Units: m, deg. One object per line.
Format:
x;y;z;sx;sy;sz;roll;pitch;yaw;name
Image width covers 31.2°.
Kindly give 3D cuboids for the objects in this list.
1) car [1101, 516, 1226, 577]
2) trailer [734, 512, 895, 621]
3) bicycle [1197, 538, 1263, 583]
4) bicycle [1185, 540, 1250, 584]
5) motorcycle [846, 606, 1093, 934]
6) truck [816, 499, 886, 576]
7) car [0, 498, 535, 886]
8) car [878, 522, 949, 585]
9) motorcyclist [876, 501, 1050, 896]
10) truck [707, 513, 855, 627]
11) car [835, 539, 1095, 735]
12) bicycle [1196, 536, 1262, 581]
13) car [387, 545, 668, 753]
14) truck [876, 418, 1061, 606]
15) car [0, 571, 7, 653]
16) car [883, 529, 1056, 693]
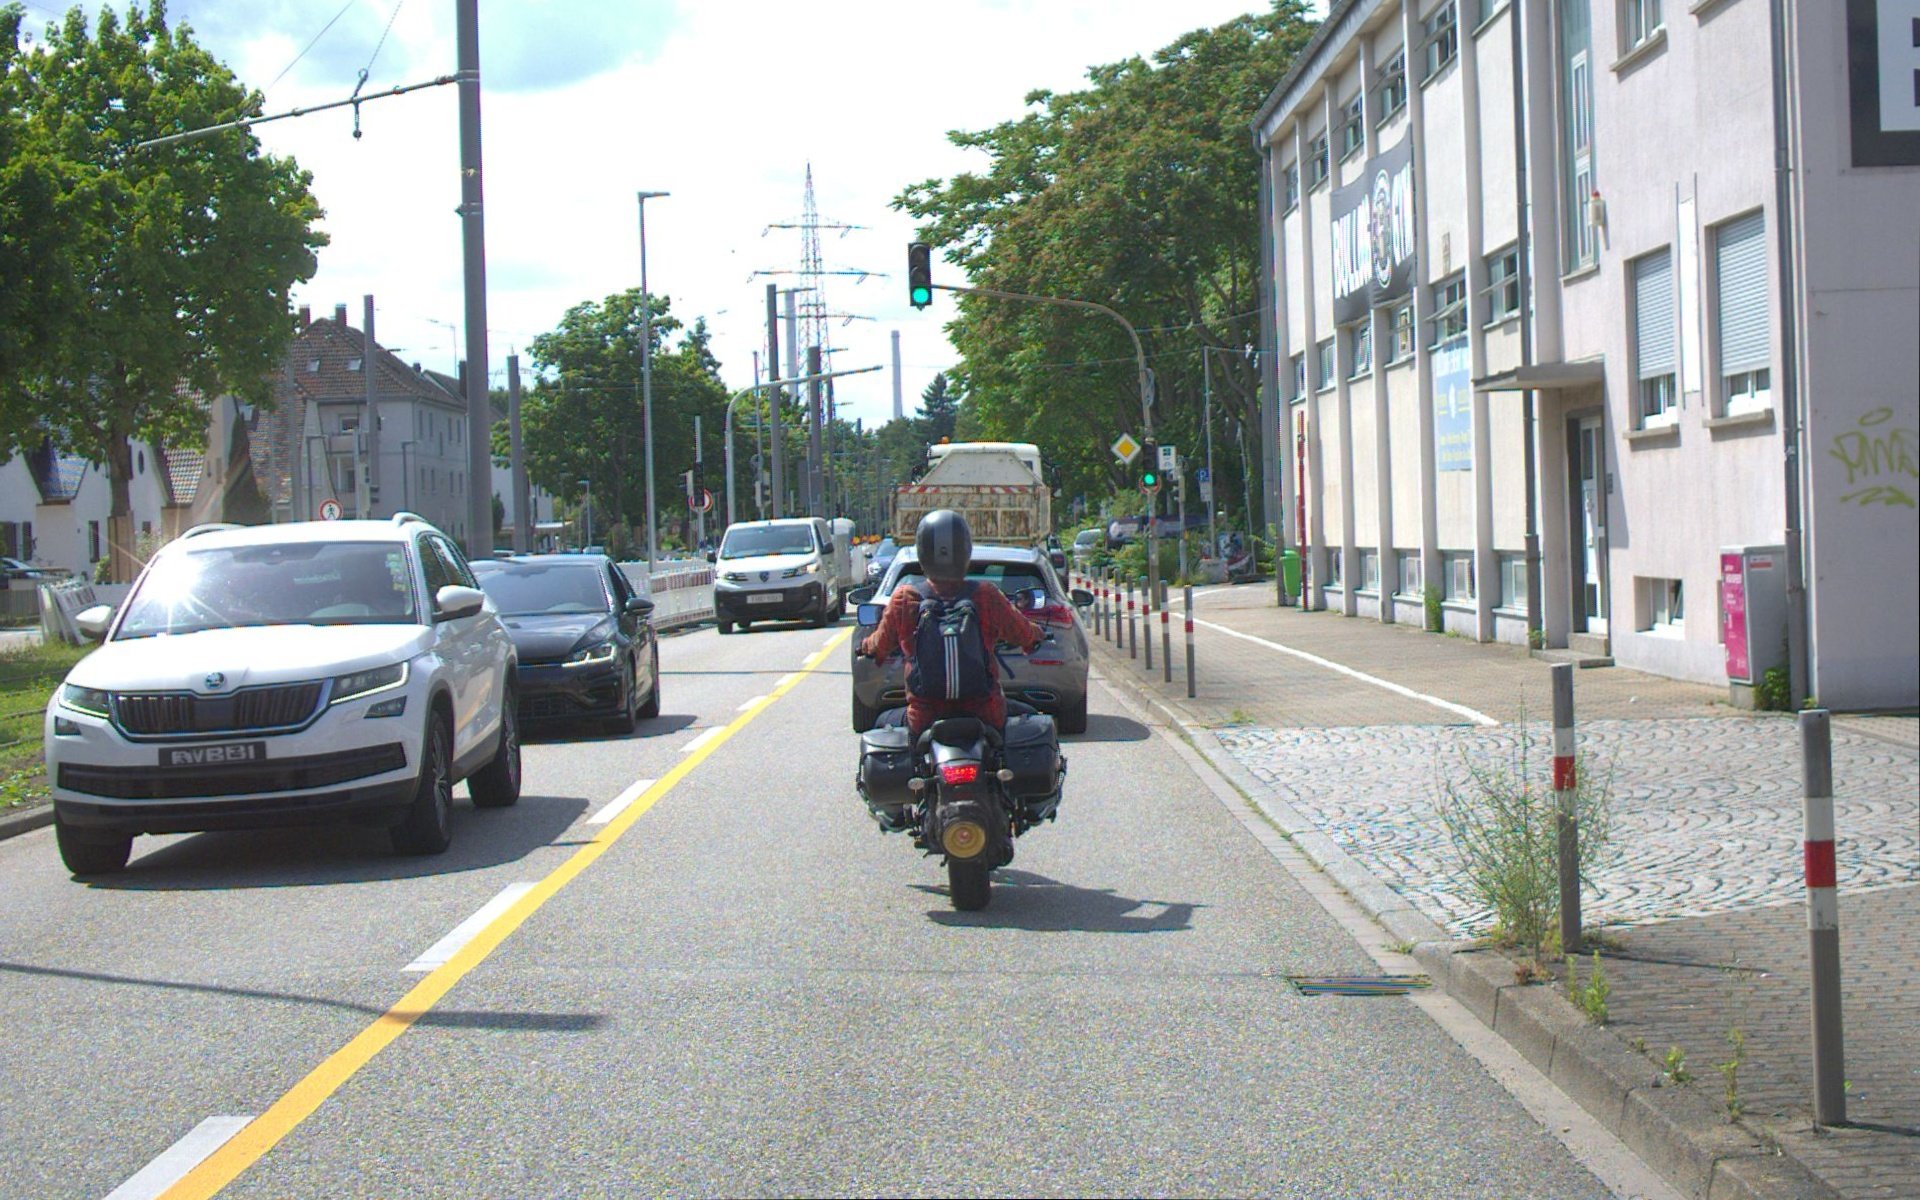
6.554;-1.705;110.555;3.989;1.919;1.802;0;1;-44;car
-2.667;-0.648;64.431;2.063;1.829;5.484;-4;1;7;trailer
7.132;-1.044;90.825;1.708;1.168;0.438;0;0;6;bicycle
6.856;-1.007;91.352;1.708;1.168;0.438;0;0;6;bicycle
0.039;0.655;14.450;0.942;1.196;2.472;0;1;0;motorcycle
-3.780;-2.210;120.142;2.093;2.468;5.196;-3;2;1;truck
-3.406;0.392;17.676;1.824;1.660;4.462;-3;1;0;car
-1.133;-1.186;85.794;1.645;1.493;4.269;-1;2;1;car
0.015;0.394;14.273;0.698;1.599;0.692;0;0;0;motorcyclist
-3.080;-0.572;60.166;1.820;1.903;5.115;0;1;6;truck
-0.039;0.237;27.101;1.731;1.399;4.087;1;1;-4;car
7.059;-1.088;90.316;1.708;1.168;0.438;0;0;6;bicycle
-3.392;0.349;27.603;1.692;1.408;3.860;-5;1;-1;car
0.253;-1.528;61.926;2.968;3.162;7.763;0;1;3;truck
-16.765;0.281;56.104;1.540;1.372;4.253;-4;1;-5;car
0.173;0.079;41.183;1.901;1.706;4.719;-2;2;2;car
